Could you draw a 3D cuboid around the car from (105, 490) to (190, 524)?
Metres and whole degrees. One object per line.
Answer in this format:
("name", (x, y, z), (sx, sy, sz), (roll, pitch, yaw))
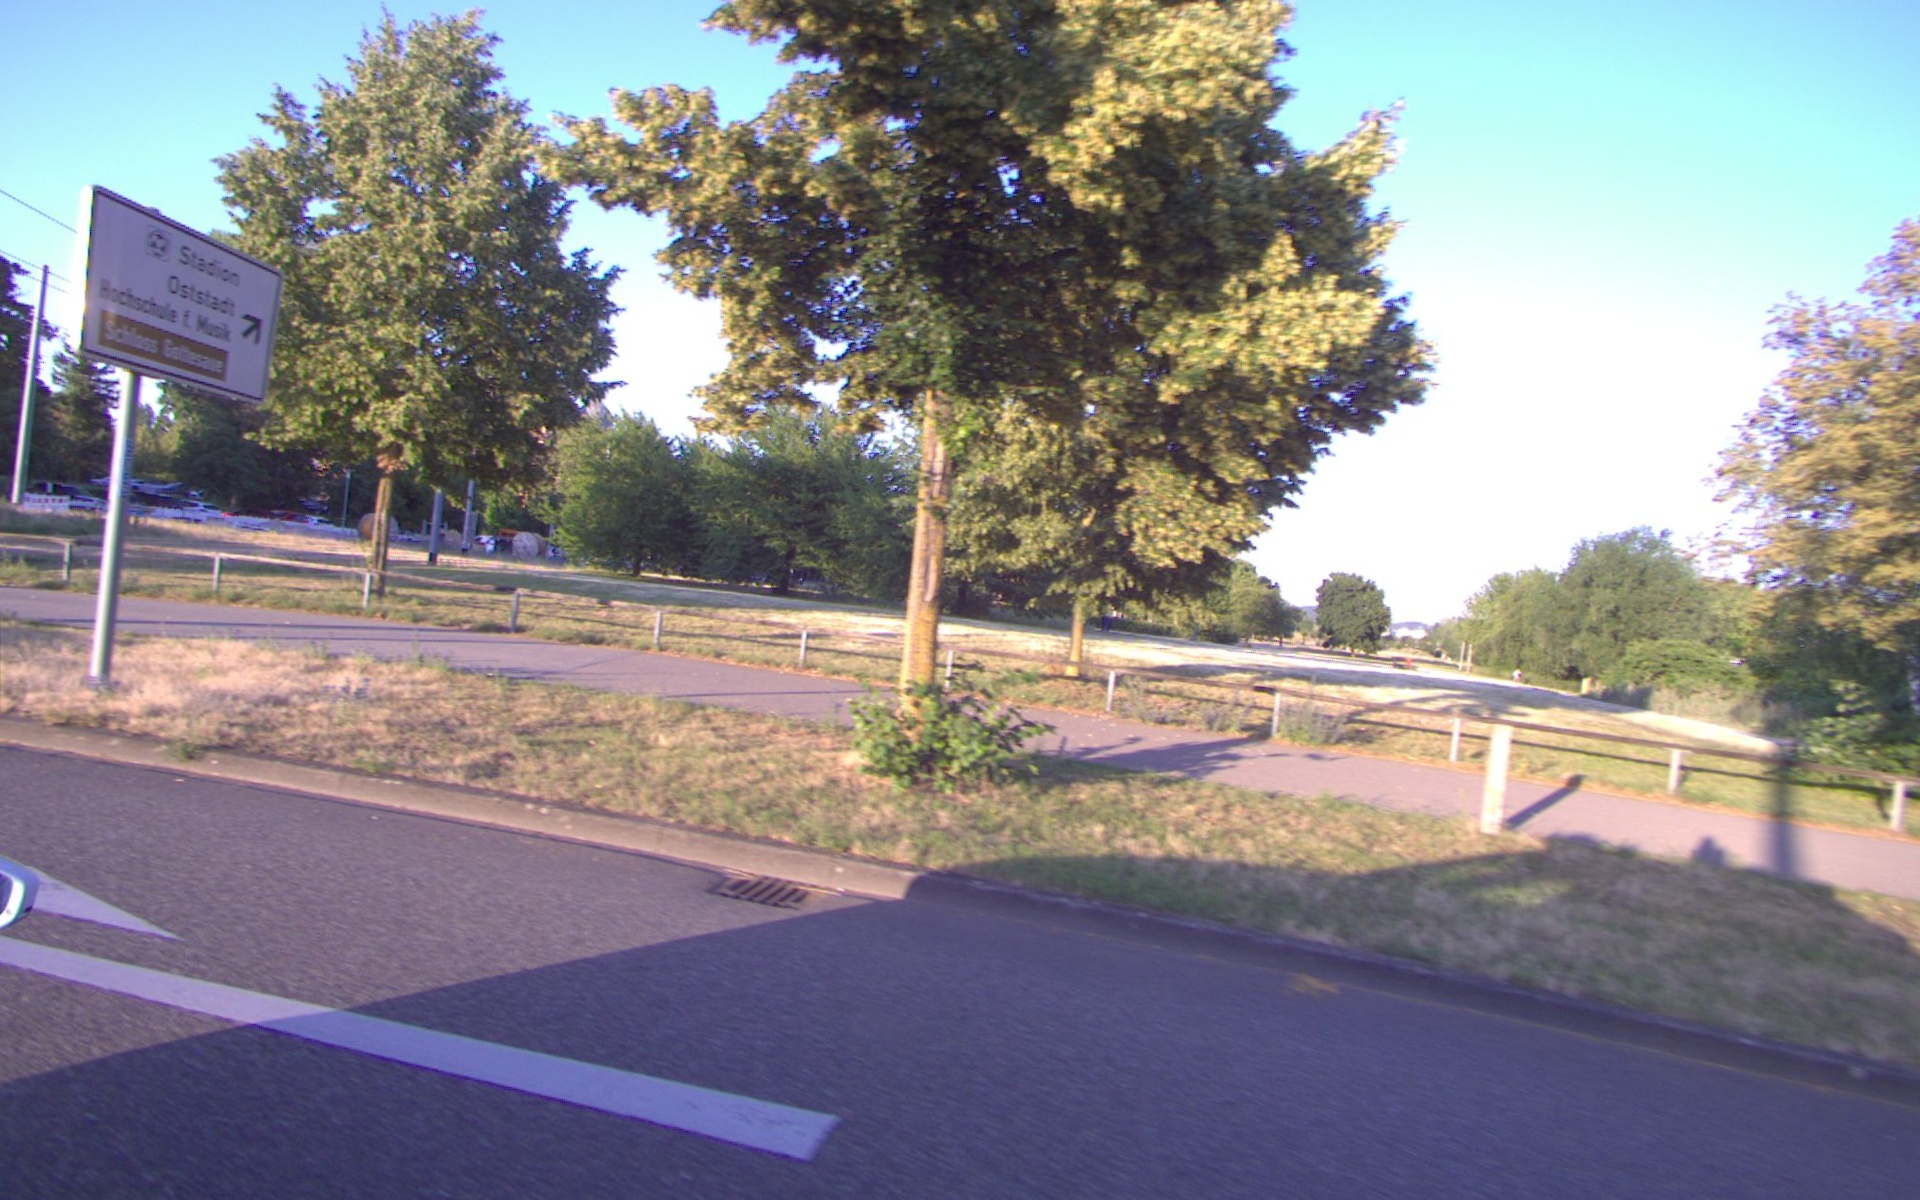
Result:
("car", (-51.981, -5.940, 64.397), (3.924, 1.573, 1.904), (7, 1, 7))

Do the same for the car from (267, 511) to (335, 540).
("car", (-49.910, -5.649, 76.256), (3.924, 1.573, 1.904), (7, 1, 7))

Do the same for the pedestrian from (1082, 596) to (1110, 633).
("pedestrian", (7.699, 0.820, 56.977), (0.898, 1.887, 1.100), (8, 1, 39))

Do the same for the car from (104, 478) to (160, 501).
("car", (-83.221, -11.107, 101.129), (1.867, 1.573, 4.001), (7, 0, 11))

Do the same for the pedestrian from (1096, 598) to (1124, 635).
("pedestrian", (8.306, 0.910, 55.662), (0.898, 1.887, 1.100), (8, 1, 39))

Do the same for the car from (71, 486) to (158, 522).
("car", (-52.313, -5.928, 62.278), (3.924, 1.573, 1.904), (7, 1, 7))

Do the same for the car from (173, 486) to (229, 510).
("car", (-75.083, -10.065, 99.552), (1.962, 1.766, 4.001), (8, 1, 10))

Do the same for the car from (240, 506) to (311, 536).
("car", (-50.175, -5.786, 73.801), (3.924, 1.573, 1.904), (7, 1, 7))

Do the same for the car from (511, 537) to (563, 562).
("car", (-35.782, -4.240, 85.201), (3.544, 1.499, 1.712), (8, 0, 4))

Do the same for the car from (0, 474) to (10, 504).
("car", (-54.346, -6.321, 54.576), (3.924, 1.573, 1.904), (7, 1, 7))

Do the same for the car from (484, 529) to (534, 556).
("car", (-45.195, -5.763, 100.849), (3.924, 2.122, 1.904), (7, 1, 7))

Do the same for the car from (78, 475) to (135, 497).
("car", (-86.226, -11.510, 101.730), (1.867, 1.573, 4.001), (7, 0, 11))

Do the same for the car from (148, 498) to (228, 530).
("car", (-51.356, -5.719, 66.965), (3.924, 1.573, 1.904), (7, 1, 7))

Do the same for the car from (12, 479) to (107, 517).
("car", (-53.100, -6.009, 59.363), (4.021, 1.573, 1.904), (7, 1, 7))

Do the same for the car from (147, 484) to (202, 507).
("car", (-78.275, -10.407, 100.291), (1.867, 1.573, 4.001), (7, 0, 11))
